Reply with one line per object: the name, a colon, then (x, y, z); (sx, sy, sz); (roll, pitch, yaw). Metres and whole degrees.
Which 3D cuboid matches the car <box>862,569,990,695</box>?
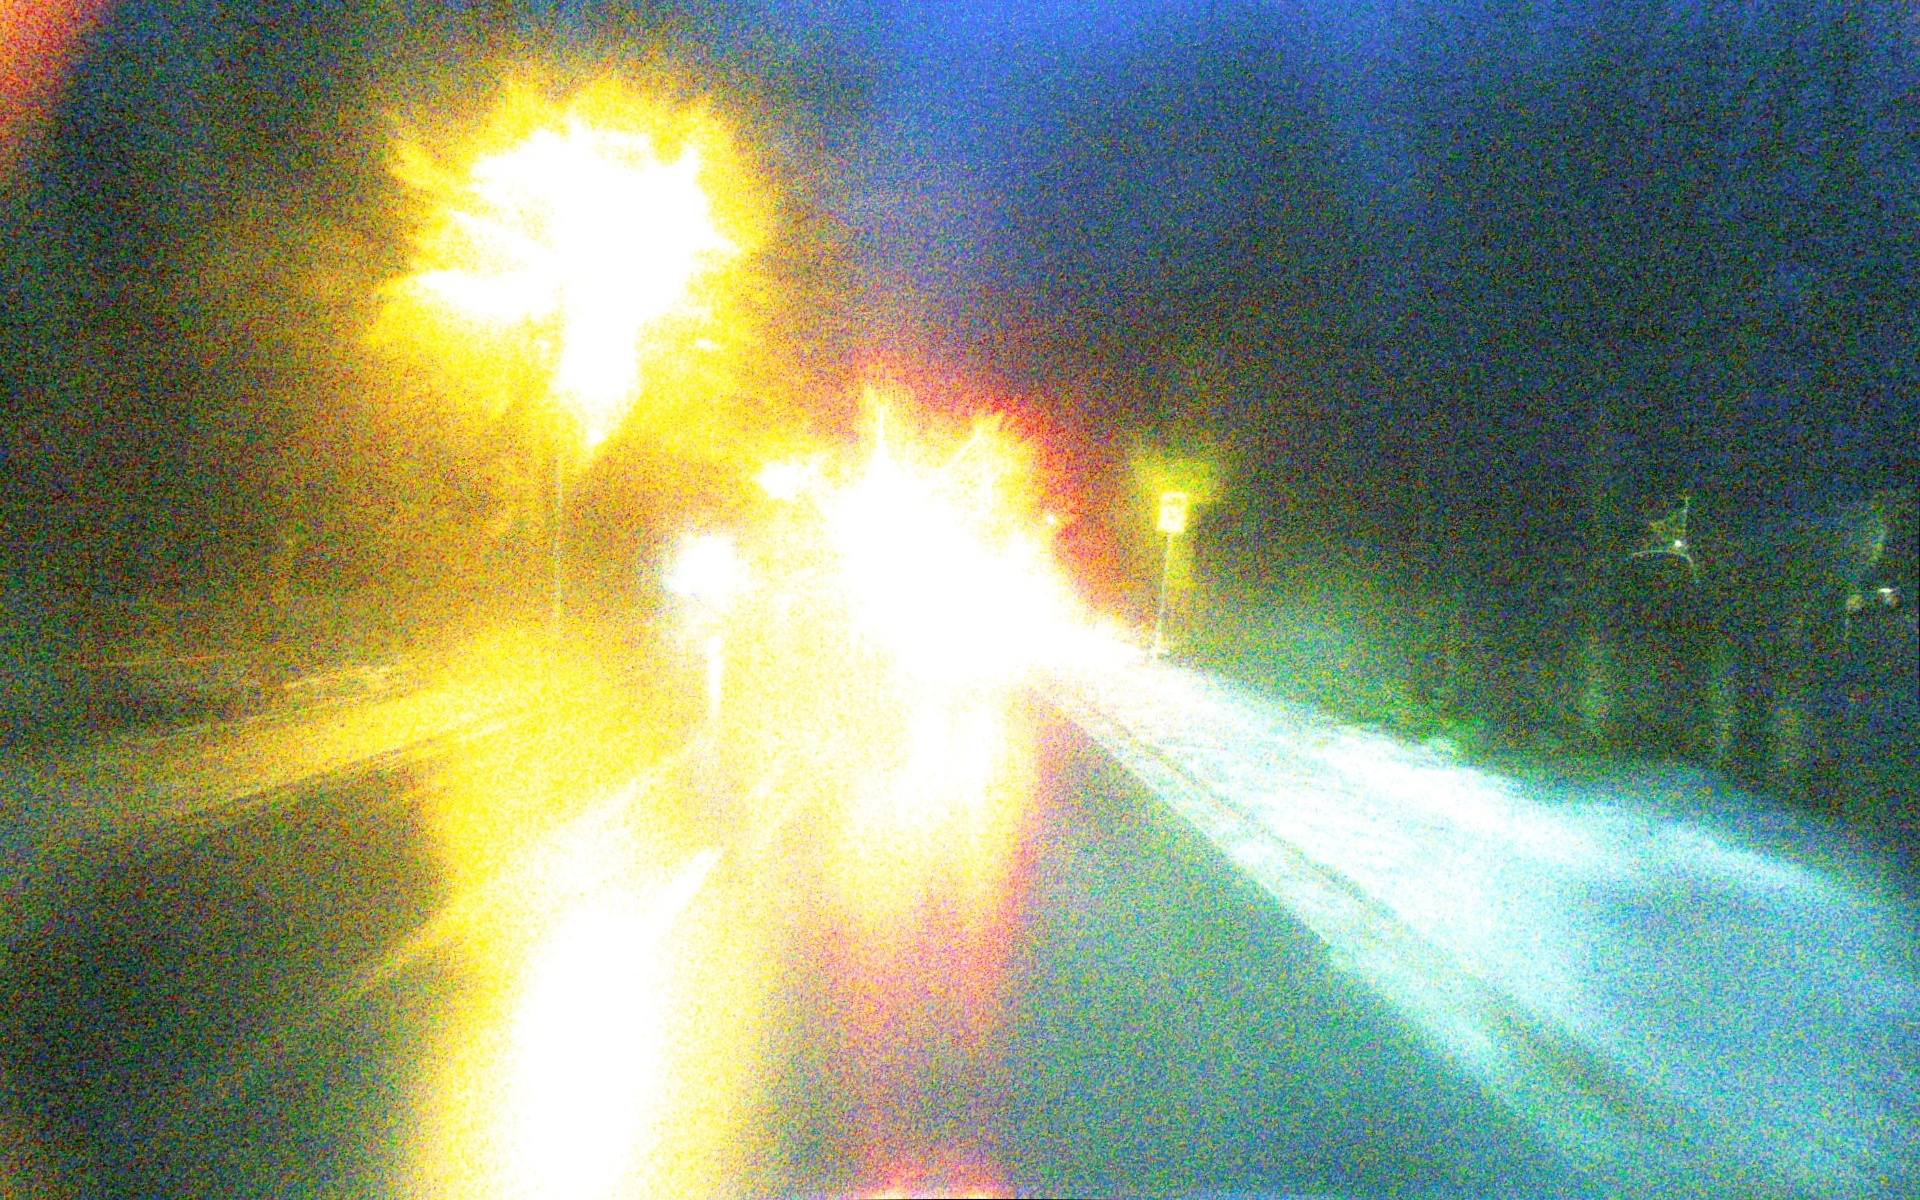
car: (-0.499, 0.402, 24.855); (1.754, 1.710, 3.904); (1, 1, -1)
